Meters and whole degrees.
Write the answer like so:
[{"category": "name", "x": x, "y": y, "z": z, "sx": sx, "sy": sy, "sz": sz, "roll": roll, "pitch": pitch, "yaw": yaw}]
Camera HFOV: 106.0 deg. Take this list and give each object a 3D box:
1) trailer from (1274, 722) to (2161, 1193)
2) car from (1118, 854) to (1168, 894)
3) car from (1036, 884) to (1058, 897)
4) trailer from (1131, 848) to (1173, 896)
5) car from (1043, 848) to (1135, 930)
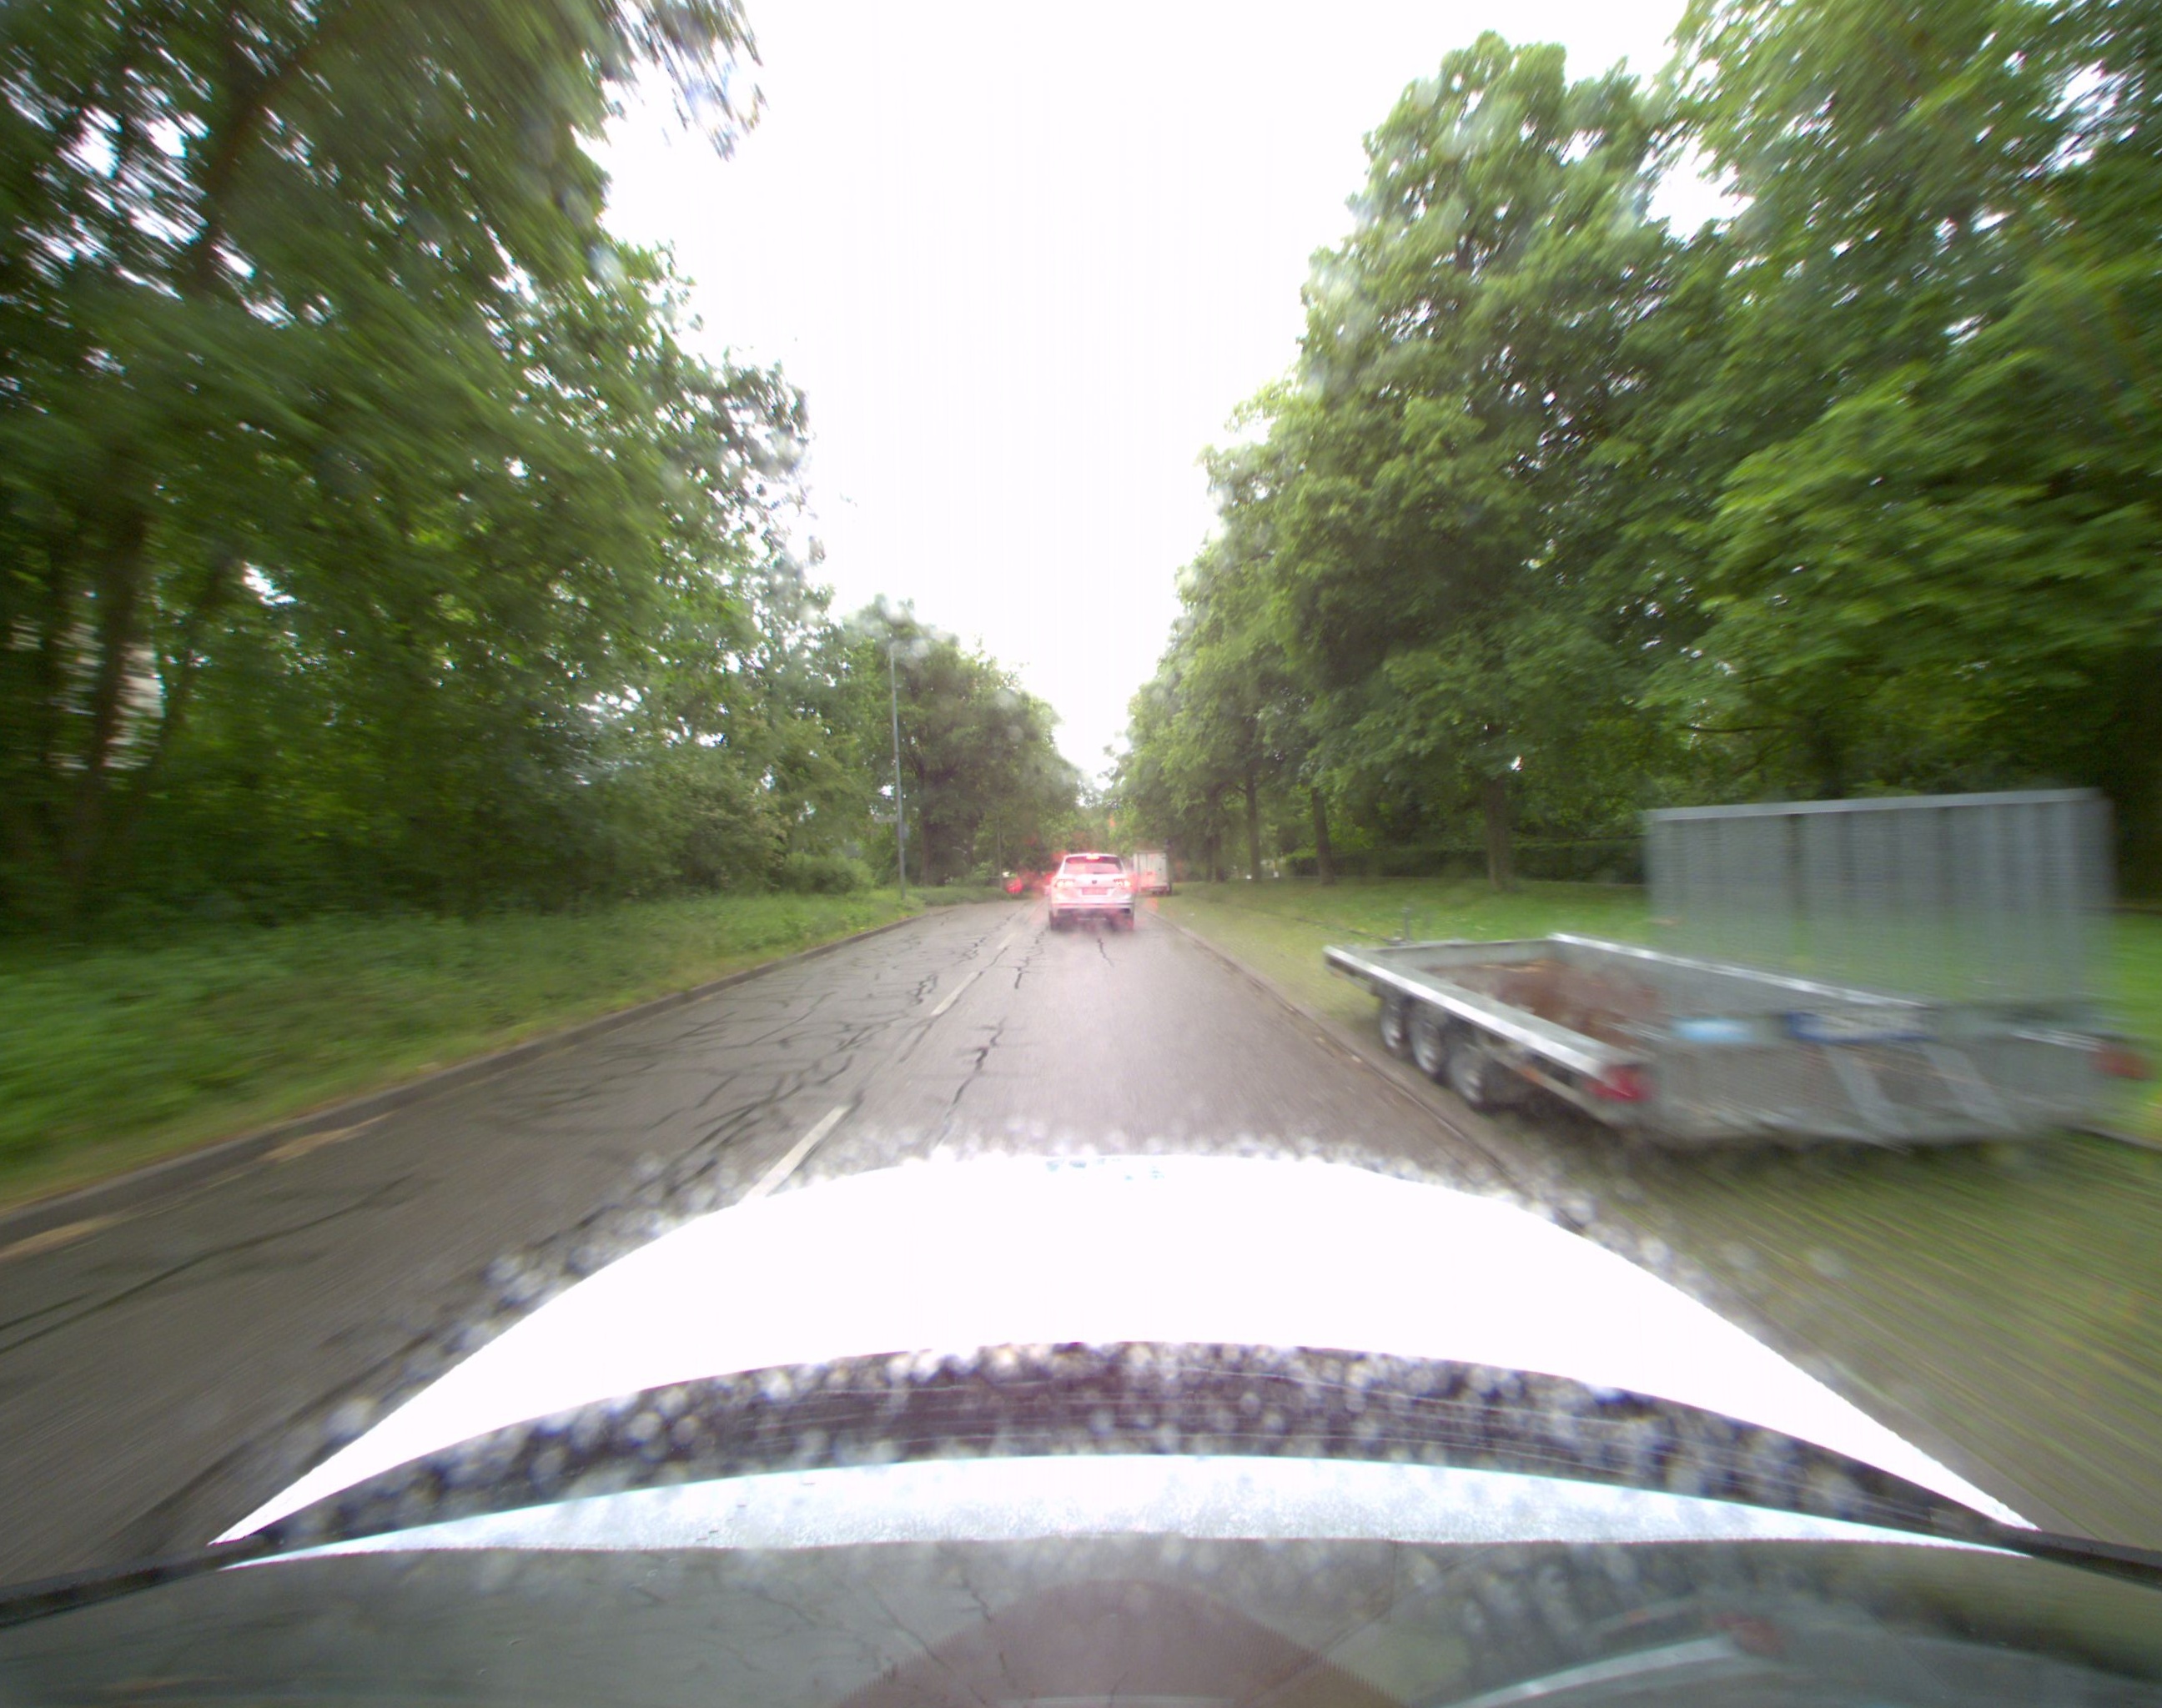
[{"category": "trailer", "x": 3.395, "y": 0.450, "z": 6.261, "sx": 2.441, "sy": 1.813, "sz": 5.892, "roll": -3, "pitch": -1, "yaw": 1}, {"category": "car", "x": 3.179, "y": 1.090, "z": 42.859, "sx": 1.988, "sy": 1.910, "sz": 5.504, "roll": -2, "pitch": -2, "yaw": -1}, {"category": "car", "x": -4.610, "y": 4.955, "z": 110.961, "sx": 1.981, "sy": 1.599, "sz": 4.021, "roll": -2, "pitch": -3, "yaw": 11}, {"category": "trailer", "x": 3.256, "y": 0.852, "z": 38.080, "sx": 1.525, "sy": 2.076, "sz": 3.998, "roll": -3, "pitch": -2, "yaw": 0}, {"category": "car", "x": 0.242, "y": 0.742, "z": 18.990, "sx": 1.898, "sy": 1.685, "sz": 4.202, "roll": -1, "pitch": -1, "yaw": 2}]
